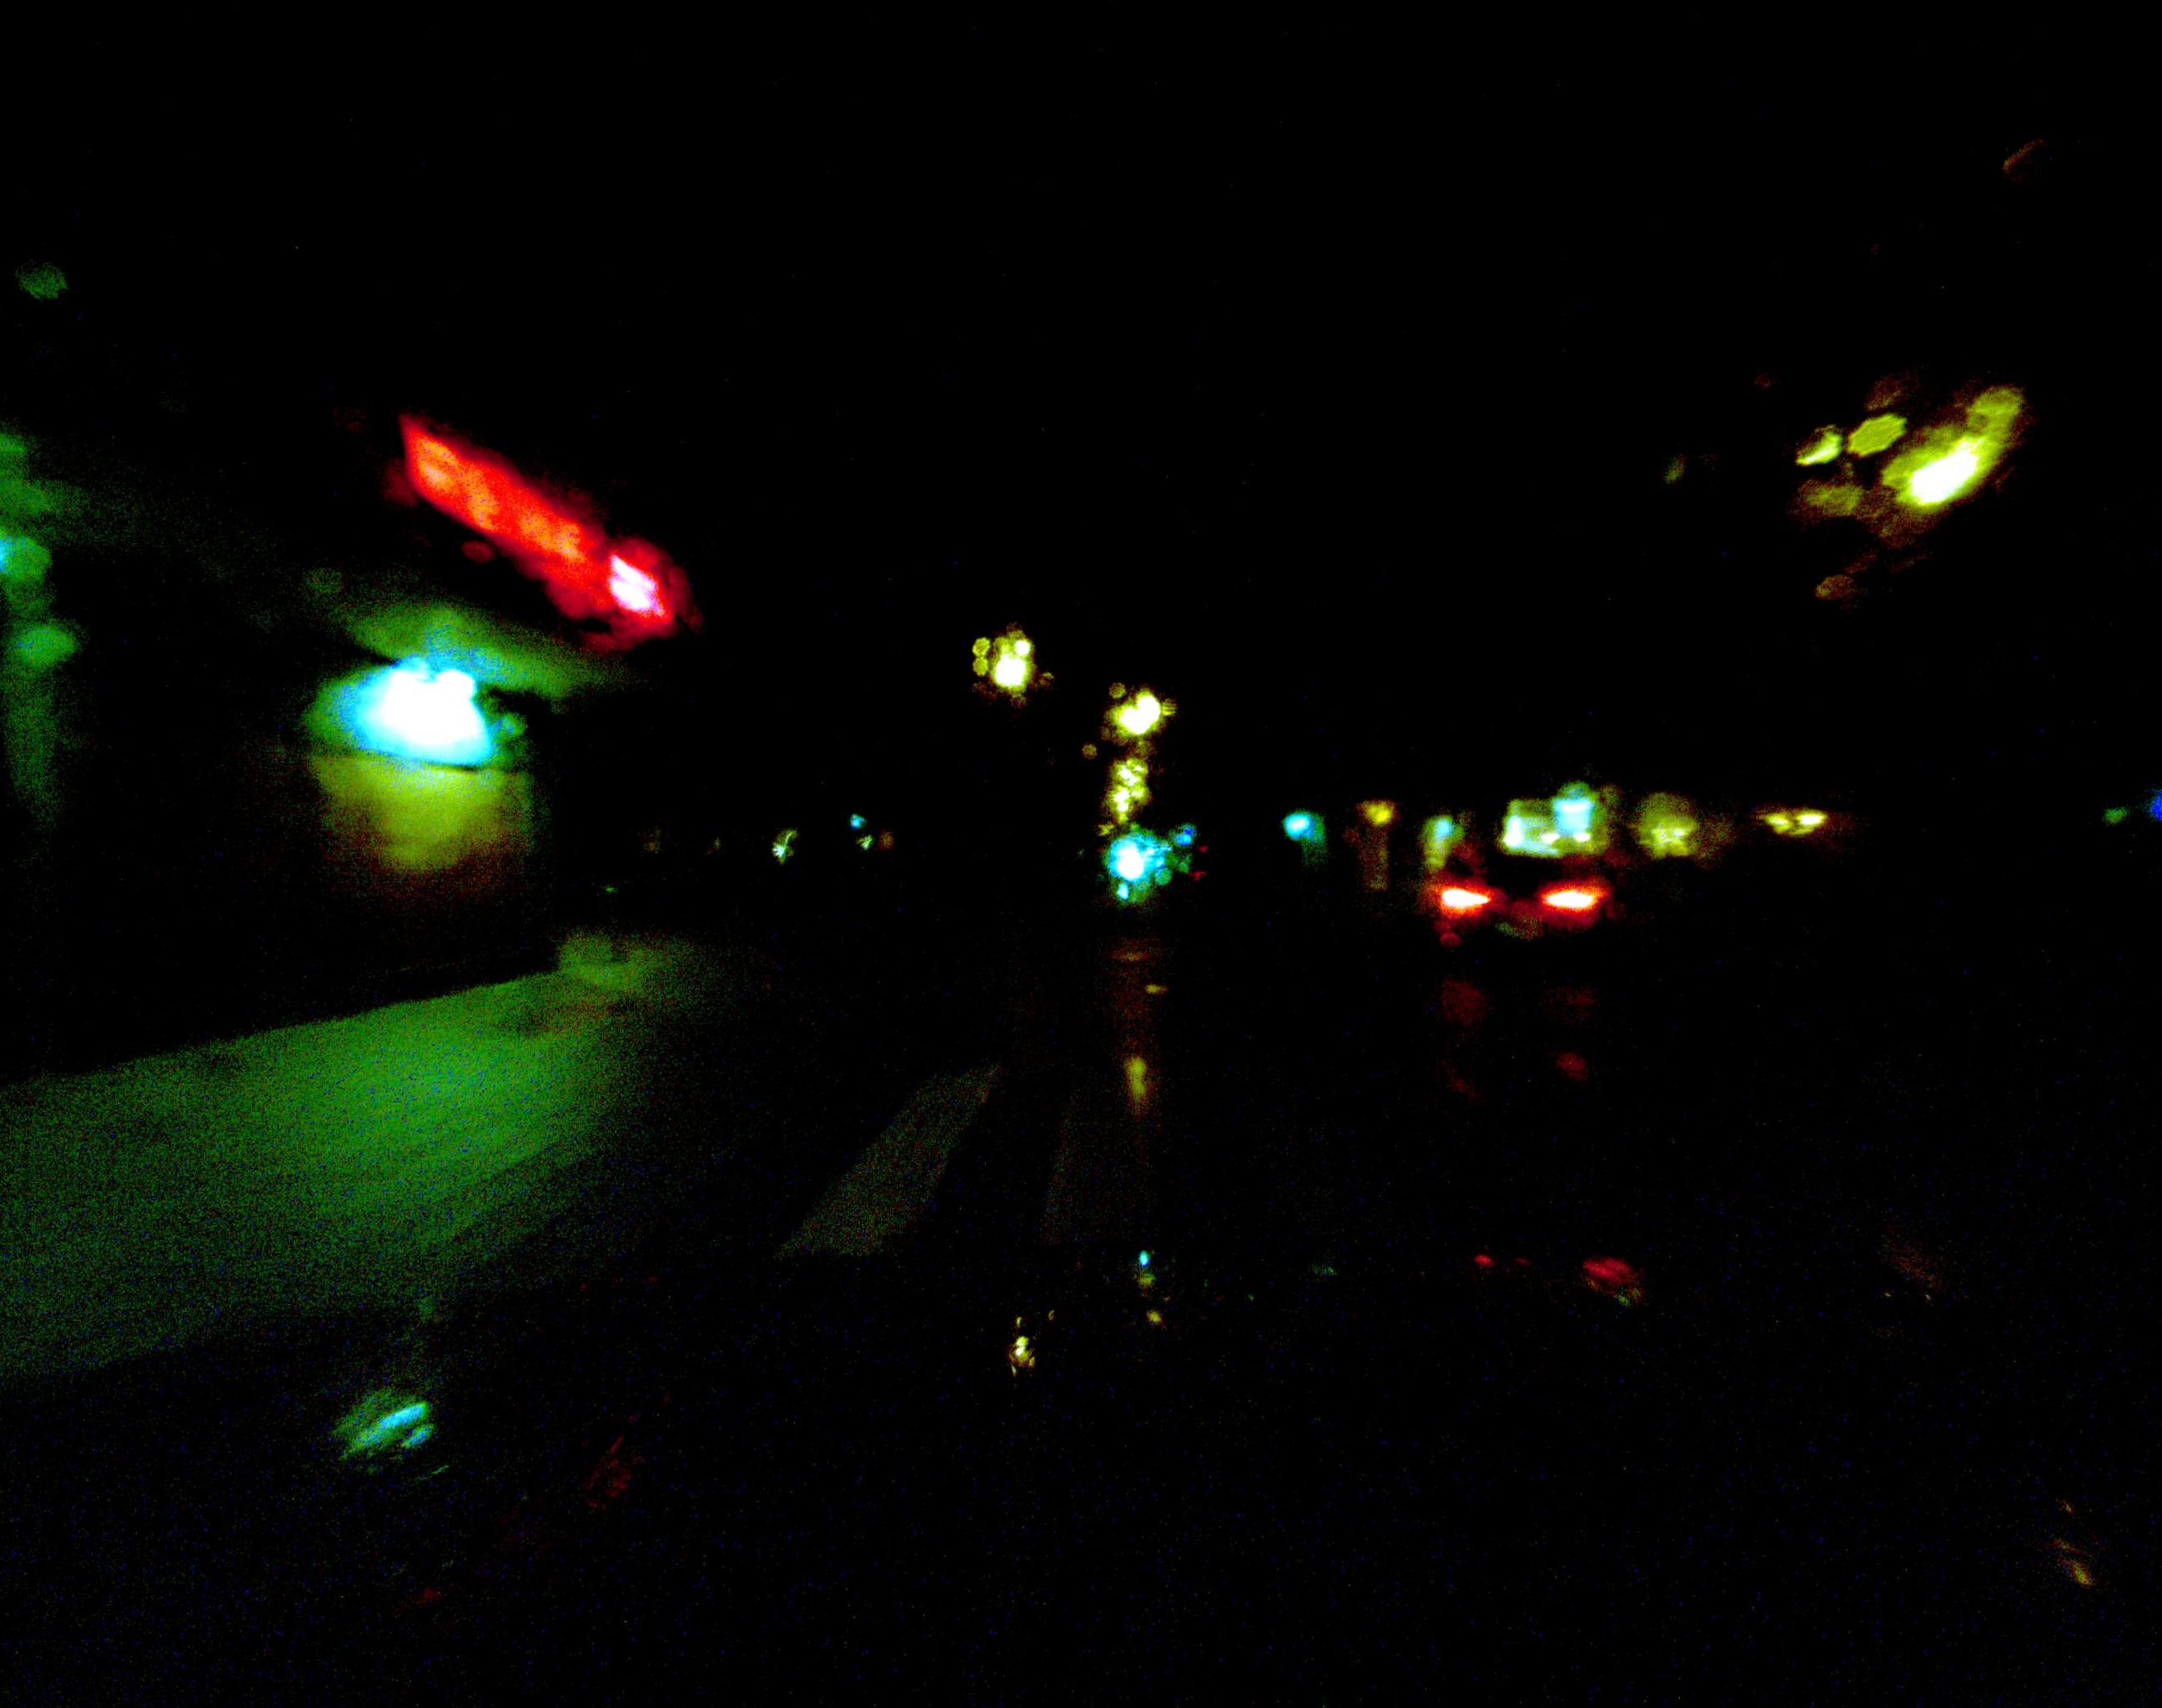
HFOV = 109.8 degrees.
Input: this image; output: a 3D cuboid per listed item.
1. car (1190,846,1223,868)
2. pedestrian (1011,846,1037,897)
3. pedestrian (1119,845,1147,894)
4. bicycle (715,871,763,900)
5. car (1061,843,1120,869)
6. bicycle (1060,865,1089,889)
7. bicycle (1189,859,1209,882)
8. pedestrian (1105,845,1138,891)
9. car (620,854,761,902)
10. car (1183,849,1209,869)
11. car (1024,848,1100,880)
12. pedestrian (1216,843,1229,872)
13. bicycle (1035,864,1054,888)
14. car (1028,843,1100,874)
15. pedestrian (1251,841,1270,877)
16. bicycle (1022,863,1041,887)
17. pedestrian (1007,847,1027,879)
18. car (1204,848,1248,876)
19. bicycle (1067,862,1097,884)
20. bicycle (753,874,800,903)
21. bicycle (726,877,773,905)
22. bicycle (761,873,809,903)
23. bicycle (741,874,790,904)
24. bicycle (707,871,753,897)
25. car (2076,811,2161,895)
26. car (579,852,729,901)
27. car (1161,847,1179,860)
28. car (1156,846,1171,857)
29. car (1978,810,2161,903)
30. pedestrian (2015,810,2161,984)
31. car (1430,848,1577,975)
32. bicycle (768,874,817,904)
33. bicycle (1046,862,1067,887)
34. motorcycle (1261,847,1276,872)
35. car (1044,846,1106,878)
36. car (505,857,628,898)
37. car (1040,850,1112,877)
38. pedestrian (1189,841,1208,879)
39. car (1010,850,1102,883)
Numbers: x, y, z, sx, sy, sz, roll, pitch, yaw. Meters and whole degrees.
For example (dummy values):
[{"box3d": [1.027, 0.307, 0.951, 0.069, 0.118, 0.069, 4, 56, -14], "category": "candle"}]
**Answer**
[{"box3d": [9.097, 0.207, 55.375, 1.720, 1.470, 4.159, -2, 0, 0], "category": "car"}, {"box3d": [-2.101, 0.639, 28.084, 0.676, 1.822, 1.078, -3, 1, 5], "category": "pedestrian"}, {"box3d": [2.010, 0.578, 29.519, 0.958, 1.852, 1.415, -2, 1, 2], "category": "pedestrian"}, {"box3d": [-13.534, 1.245, 30.130, 0.402, 1.003, 1.813, -3, 1, 28], "category": "bicycle"}, {"box3d": [0.827, 0.174, 66.775, 4.717, 1.969, 1.975, -3, 2, -26], "category": "car"}, {"box3d": [-0.322, 1.079, 35.877, 0.337, 1.021, 1.641, -1, 2, -42], "category": "bicycle"}, {"box3d": [5.742, 0.808, 37.012, 0.714, 1.053, 1.802, -1, 0, 2], "category": "bicycle"}, {"box3d": [1.628, 0.568, 30.810, 0.876, 1.823, 0.985, -1, 1, 39], "category": "pedestrian"}, {"box3d": [-16.515, 0.961, 32.487, 1.995, 1.752, 5.105, -2, 0, 26], "category": "car"}, {"box3d": [9.188, 0.379, 60.841, 1.720, 1.470, 3.787, -3, 0, 5], "category": "car"}, {"box3d": [-0.996, 0.508, 41.197, 3.746, 1.702, 1.767, 0, 1, -32], "category": "car"}, {"box3d": [11.033, 0.266, 59.206, 0.801, 2.228, 1.116, -2, 1, 2], "category": "pedestrian"}, {"box3d": [-1.692, 1.000, 35.306, 0.336, 1.086, 1.643, -1, 0, -23], "category": "bicycle"}, {"box3d": [-0.949, 0.259, 43.600, 3.800, 1.702, 1.744, 0, 1, -32], "category": "car"}, {"box3d": [8.910, 0.238, 37.794, 0.827, 1.761, 0.600, -3, 1, 15], "category": "pedestrian"}, {"box3d": [-2.278, 0.950, 34.963, 0.336, 1.020, 1.643, -1, 1, -23], "category": "bicycle"}, {"box3d": [-3.663, 0.503, 43.431, 0.789, 1.807, 0.812, 0, 3, 28], "category": "pedestrian"}, {"box3d": [8.498, 0.412, 44.879, 1.851, 1.470, 5.031, -2, 0, 3], "category": "car"}, {"box3d": [0.036, 0.887, 36.138, 0.337, 1.020, 1.641, -1, 0, -43], "category": "bicycle"}, {"box3d": [-11.460, 1.281, 28.674, 0.378, 1.003, 1.813, -1, 0, 28], "category": "bicycle"}, {"box3d": [-12.987, 1.422, 29.816, 0.402, 1.003, 1.813, -1, 0, 28], "category": "bicycle"}, {"box3d": [-11.049, 1.260, 28.396, 0.402, 1.003, 1.813, -1, 0, 28], "category": "bicycle"}, {"box3d": [-11.996, 1.326, 28.966, 0.402, 1.003, 1.813, -3, 1, 28], "category": "bicycle"}, {"box3d": [-14.003, 1.183, 30.390, 0.402, 1.003, 1.781, 0, 0, 28], "category": "bicycle"}, {"box3d": [27.453, -0.050, 18.272, 1.997, 2.002, 4.001, -3, 1, 7], "category": "car"}, {"box3d": [-18.651, 0.931, 33.537, 1.995, 1.879, 5.557, -2, 0, 26], "category": "car"}, {"box3d": [10.938, -0.132, 93.789, 1.851, 1.470, 3.735, -3, 0, 3], "category": "car"}, {"box3d": [11.979, -0.385, 110.999, 1.851, 1.571, 3.735, -3, 0, 3], "category": "car"}, {"box3d": [25.201, -0.012, 18.568, 1.997, 2.002, 4.001, -3, 1, 7], "category": "car"}, {"box3d": [11.486, 0.452, 8.550, 0.797, 1.847, 0.947, 0, 1, 16], "category": "pedestrian"}, {"box3d": [5.977, 0.665, 11.055, 1.564, 1.419, 4.075, 0, 1, 26], "category": "car"}, {"box3d": [-10.585, 1.260, 27.914, 0.454, 1.003, 1.813, -1, 0, 28], "category": "bicycle"}, {"box3d": [-1.153, 0.931, 35.361, 0.336, 1.021, 1.642, -3, 4, -27], "category": "bicycle"}, {"box3d": [11.355, 0.301, 46.072, 0.538, 1.462, 1.458, -3, 1, 2], "category": "motorcycle"}, {"box3d": [-0.373, 0.515, 49.518, 3.746, 2.017, 1.717, 0, 1, -32], "category": "car"}, {"box3d": [-24.905, 1.094, 36.982, 1.995, 1.752, 4.470, -2, 0, 26], "category": "car"}, {"box3d": [-0.283, 0.574, 46.495, 4.079, 1.588, 1.829, 0, 1, -32], "category": "car"}, {"box3d": [5.727, 0.286, 37.000, 0.714, 1.801, 1.125, -1, 0, 1], "category": "pedestrian"}, {"box3d": [-1.260, 0.605, 38.227, 4.269, 1.564, 1.768, 0, 1, -25], "category": "car"}]
